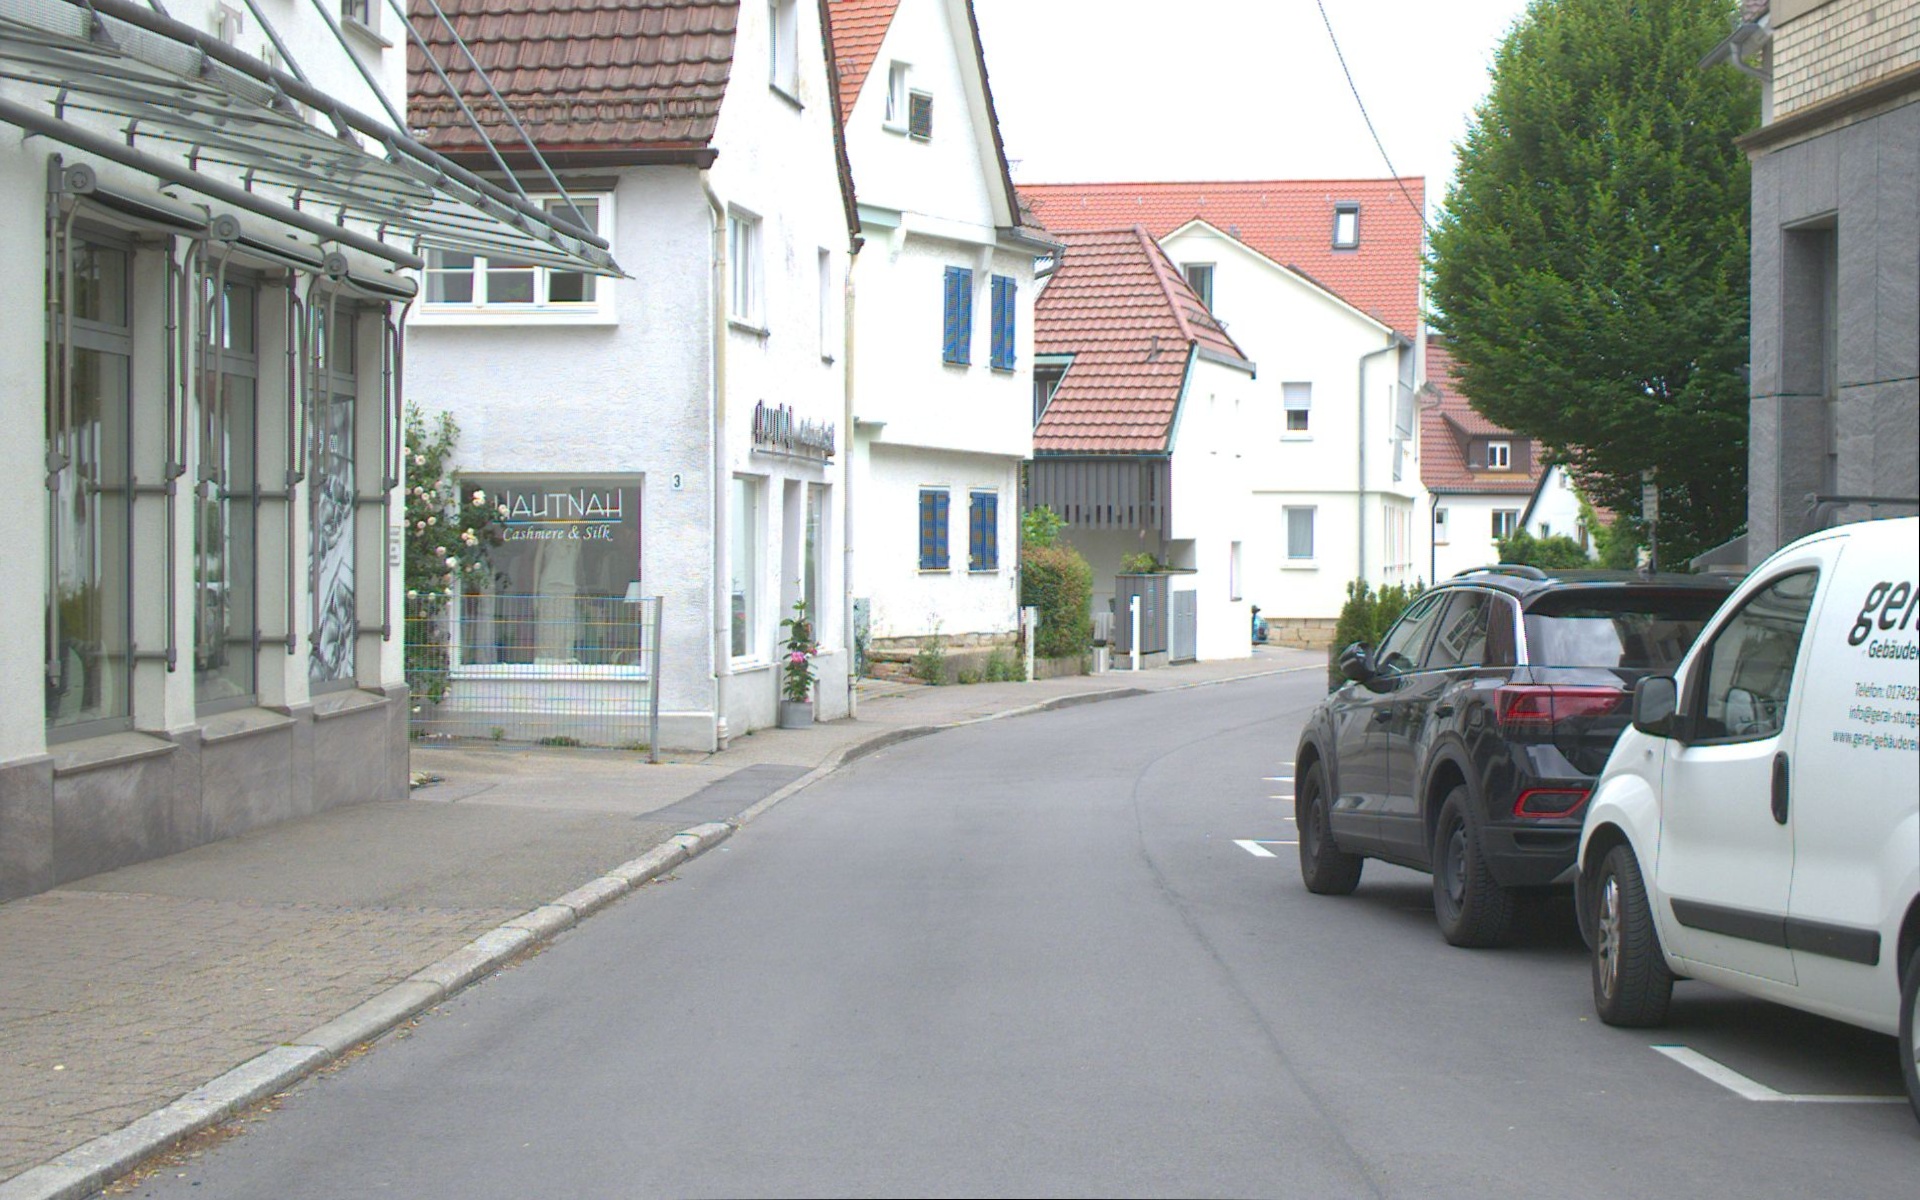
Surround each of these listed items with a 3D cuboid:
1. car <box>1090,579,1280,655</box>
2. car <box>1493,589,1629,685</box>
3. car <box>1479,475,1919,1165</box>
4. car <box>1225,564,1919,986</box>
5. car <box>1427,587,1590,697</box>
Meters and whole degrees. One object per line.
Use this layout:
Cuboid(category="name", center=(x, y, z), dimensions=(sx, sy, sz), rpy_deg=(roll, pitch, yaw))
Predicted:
Cuboid(category="car", center=(5.021, 0.385, 76.518), dimensions=(3.734, 1.407, 2.118), rpy_deg=(3, -1, 18))
Cuboid(category="car", center=(10.966, 0.640, 62.491), dimensions=(1.995, 1.610, 4.875), rpy_deg=(2, 1, 15))
Cuboid(category="car", center=(3.148, 0.555, 10.586), dimensions=(1.825, 1.786, 4.220), rpy_deg=(1, 1, -9))
Cuboid(category="car", center=(2.573, 0.660, 15.444), dimensions=(1.787, 1.595, 4.543), rpy_deg=(1, 0, -8))
Cuboid(category="car", center=(8.175, 0.596, 50.964), dimensions=(1.949, 1.503, 4.817), rpy_deg=(1, 0, 14))
